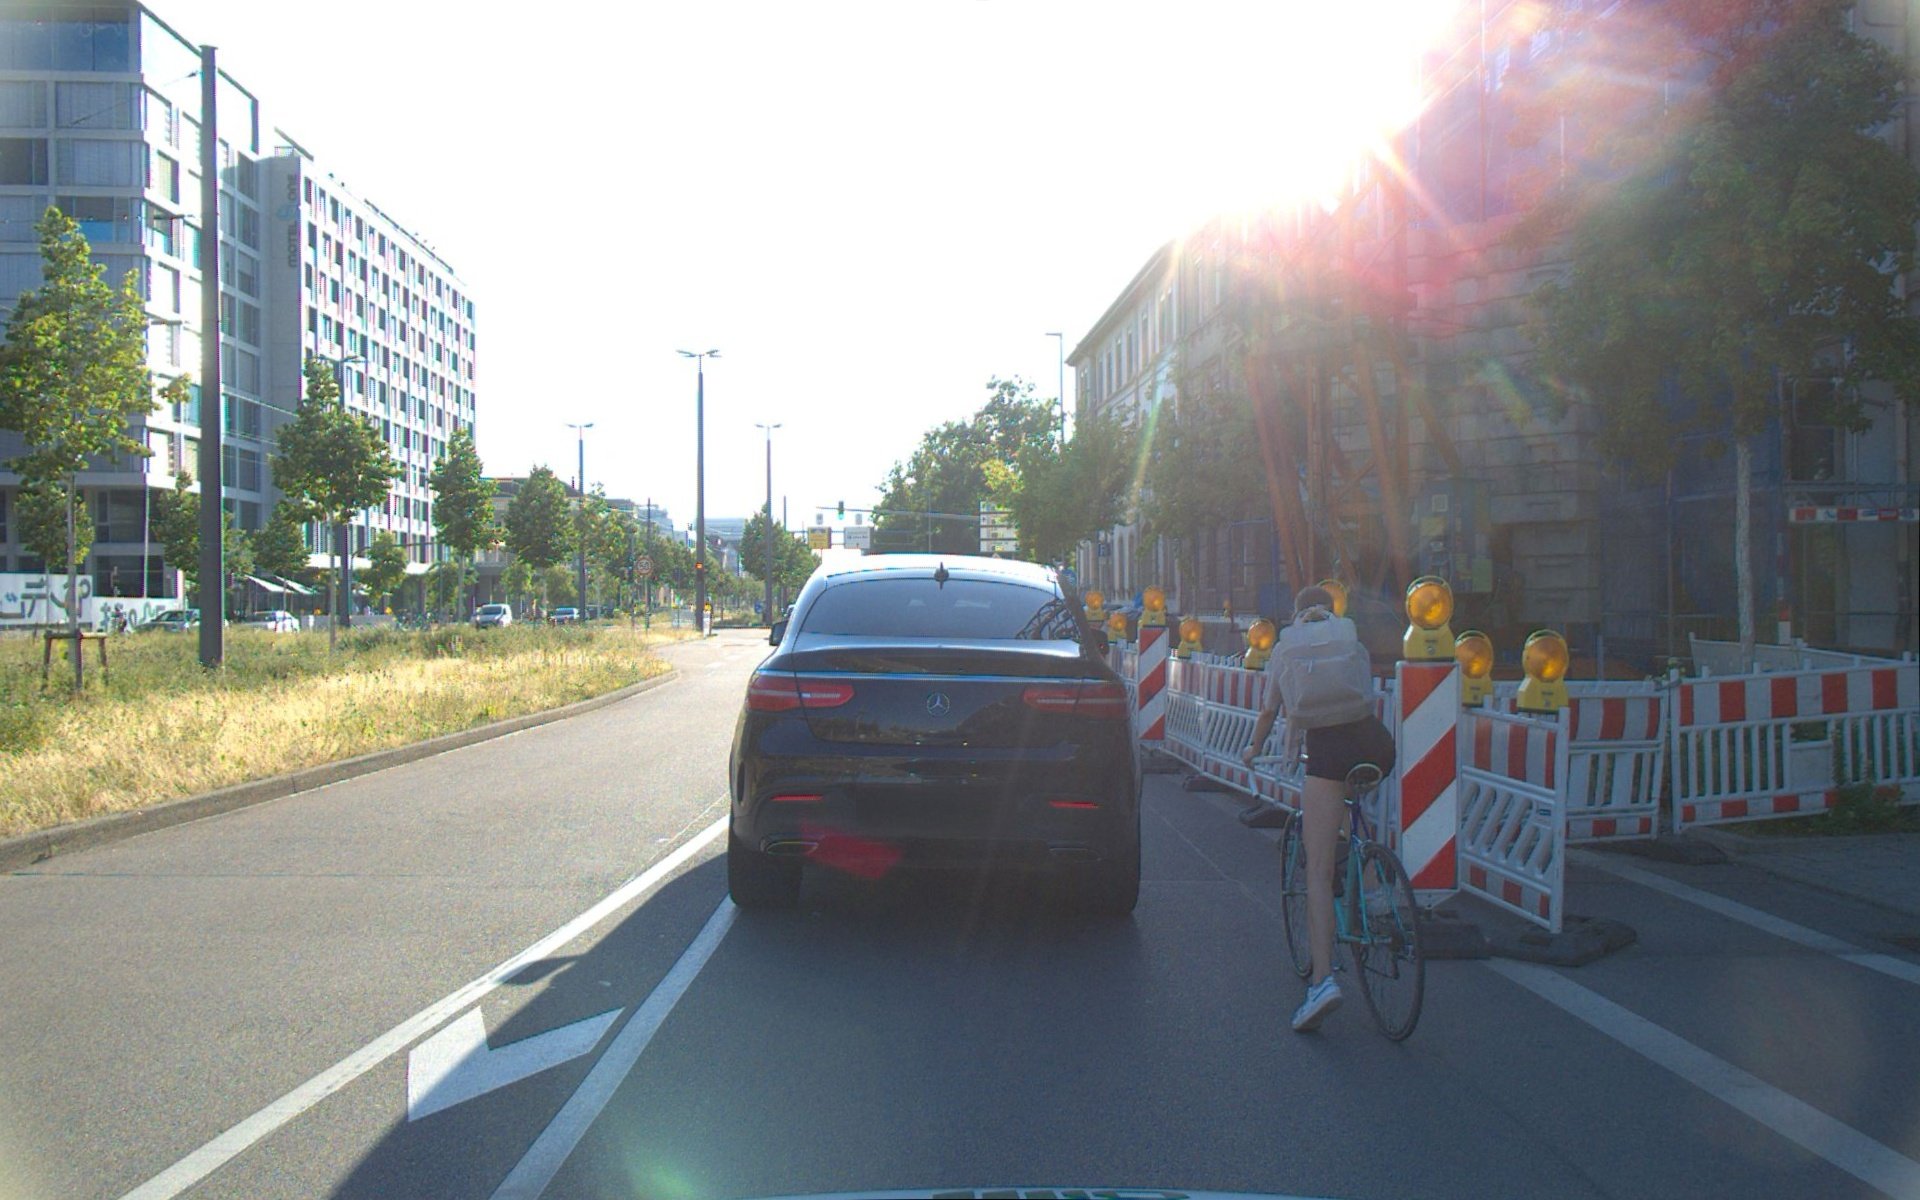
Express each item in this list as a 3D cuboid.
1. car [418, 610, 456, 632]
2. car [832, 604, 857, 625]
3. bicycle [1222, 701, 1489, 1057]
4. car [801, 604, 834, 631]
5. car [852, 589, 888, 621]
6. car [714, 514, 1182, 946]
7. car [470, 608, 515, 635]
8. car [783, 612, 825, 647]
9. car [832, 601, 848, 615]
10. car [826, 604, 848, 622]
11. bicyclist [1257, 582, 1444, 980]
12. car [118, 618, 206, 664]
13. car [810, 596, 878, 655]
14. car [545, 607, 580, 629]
[{"bbox_3d":[-36.969,1.486,116.959,1.674,1.467,3.580,1,0,-3],"label":"car"},{"bbox_3d":[-8.302,1.052,118.949,1.674,1.467,3.580,1,0,-3],"label":"car"},{"bbox_3d":[1.445,0.975,6.321,0.502,1.070,1.724,1,0,-3],"label":"bicycle"},{"bbox_3d":[-7.961,0.949,92.640,1.674,1.467,3.580,1,0,-3],"label":"car"},{"bbox_3d":[-4.303,0.235,79.225,1.674,1.467,3.580,1,0,-3],"label":"car"},{"bbox_3d":[-0.075,0.560,9.006,1.953,1.803,3.999,1,0,-1],"label":"car"},{"bbox_3d":[-30.152,1.370,106.733,1.753,1.713,3.639,1,0,2],"label":"car"},{"bbox_3d":[-6.965,1.304,74.207,1.674,1.467,3.580,1,0,-3],"label":"car"},{"bbox_3d":[-13.345,0.908,184.358,1.674,1.467,3.580,1,0,-3],"label":"car"},{"bbox_3d":[-10.041,1.050,134.683,1.674,1.467,3.580,1,0,-3],"label":"car"},{"bbox_3d":[1.455,0.650,6.225,0.512,1.420,0.614,1,-1,-4],"label":"bicyclist"},{"bbox_3d":[-31.652,1.608,65.710,1.754,1.713,3.637,1,0,-2],"label":"car"},{"bbox_3d":[-2.979,0.642,43.036,1.674,1.467,3.580,0,0,-3],"label":"car"},{"bbox_3d":[-27.442,1.246,114.283,1.674,1.467,3.580,1,0,-3],"label":"car"}]
